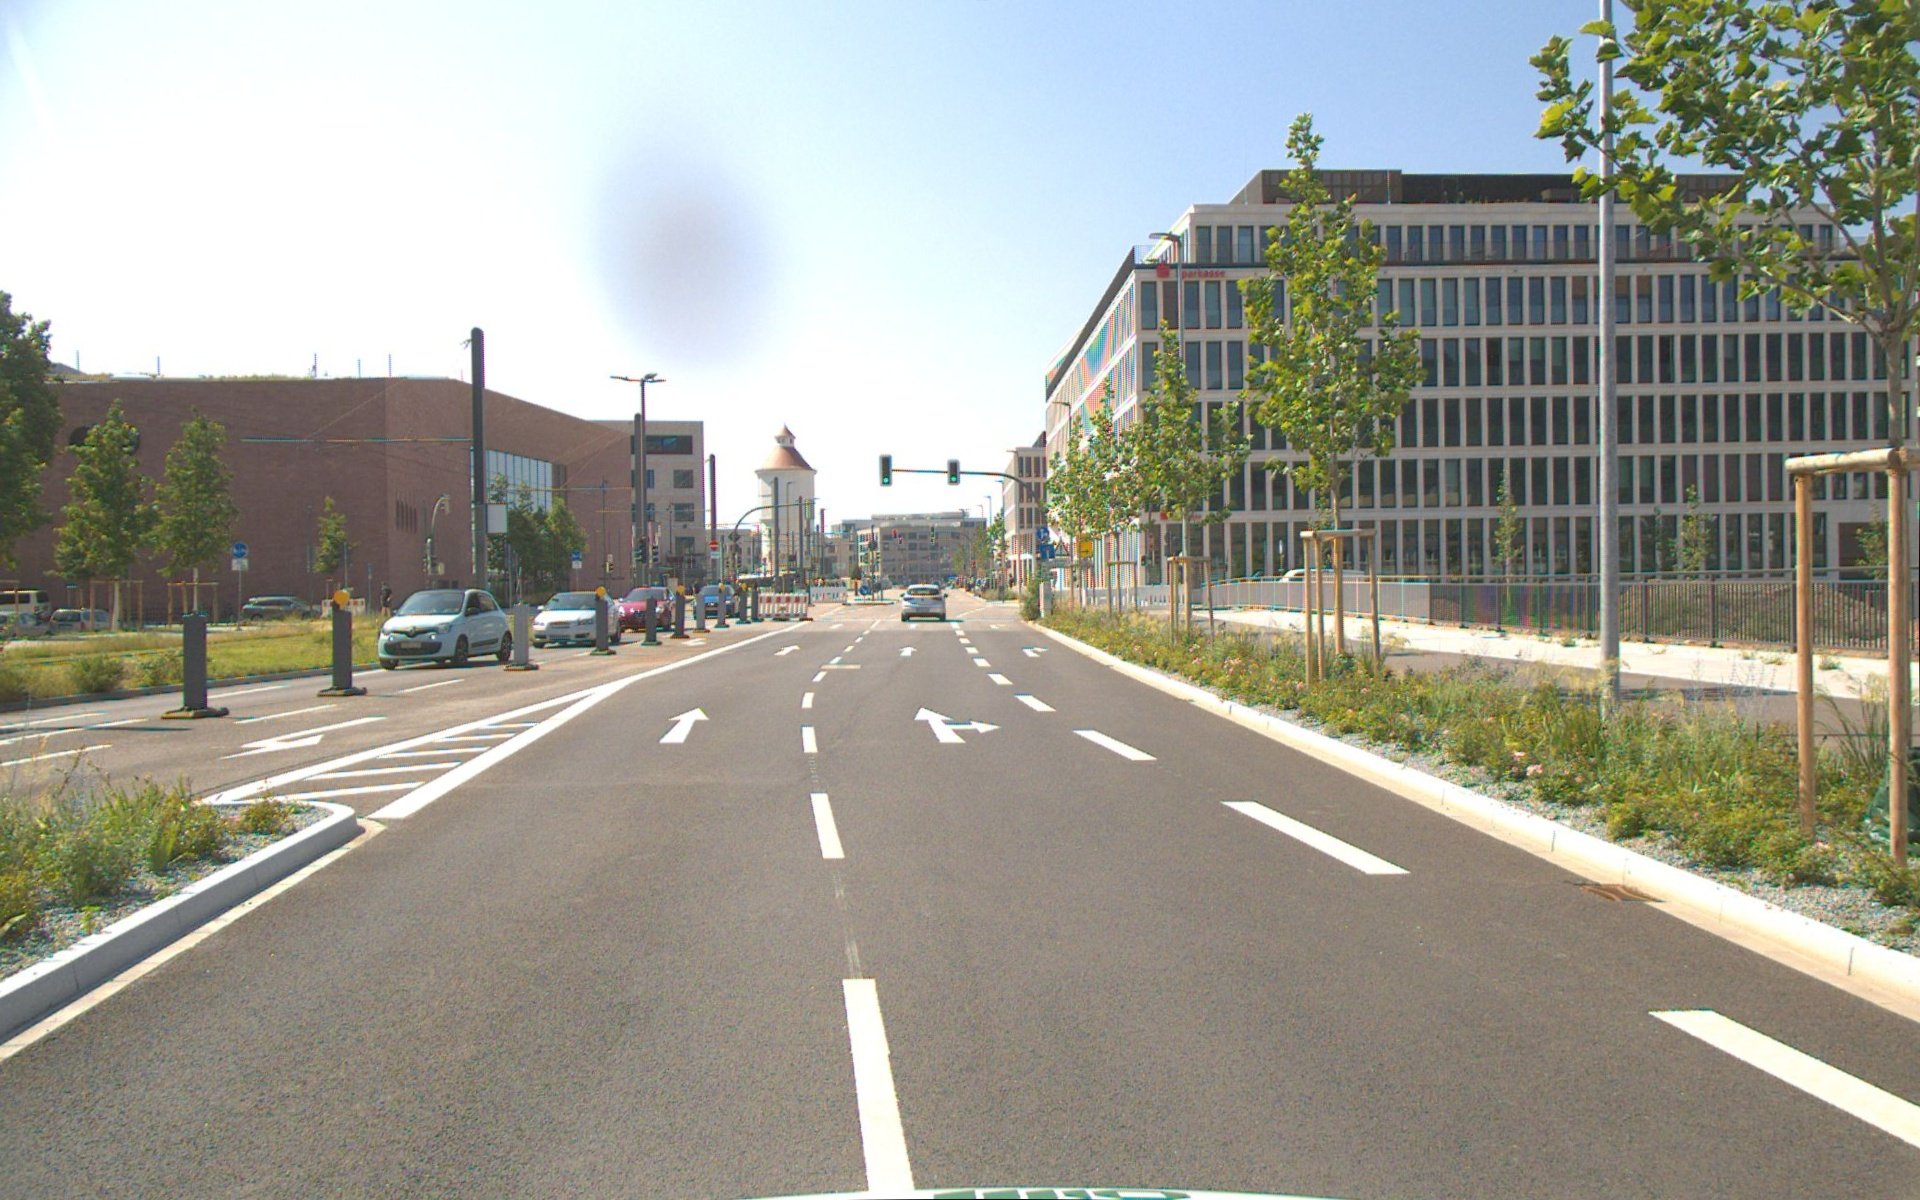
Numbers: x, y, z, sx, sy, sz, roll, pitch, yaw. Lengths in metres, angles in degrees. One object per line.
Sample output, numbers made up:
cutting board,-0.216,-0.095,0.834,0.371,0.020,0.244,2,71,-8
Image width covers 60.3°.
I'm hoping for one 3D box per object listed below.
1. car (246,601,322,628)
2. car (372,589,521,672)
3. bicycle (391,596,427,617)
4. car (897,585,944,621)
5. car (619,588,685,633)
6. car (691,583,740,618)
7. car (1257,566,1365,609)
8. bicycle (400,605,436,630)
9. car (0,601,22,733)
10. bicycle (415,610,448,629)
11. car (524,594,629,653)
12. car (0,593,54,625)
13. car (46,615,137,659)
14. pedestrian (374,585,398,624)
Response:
car,-35.731,0.757,87.469,3.408,1.393,1.573,0,1,-2
car,-10.540,0.585,34.203,1.546,1.557,3.623,-3,0,6
bicycle,-32.855,0.368,98.637,2.015,1.233,0.538,-1,0,-12
car,-1.583,0.129,67.176,1.735,1.419,3.532,0,-1,1
car,-10.447,0.340,56.351,1.548,1.441,3.998,-2,0,-2
car,-10.698,0.001,72.631,1.595,1.452,4.289,-2,1,-2
car,20.181,-0.710,95.149,5.718,2.310,2.146,1,1,-1
bicycle,-33.751,1.083,103.019,2.015,1.478,0.538,-1,1,-12
car,-11.698,0.802,16.691,1.638,1.468,4.471,-3,0,4
bicycle,-34.717,1.286,108.678,2.015,1.233,0.538,-1,1,-12
car,-10.205,0.585,44.338,1.547,1.441,4.298,-2,0,3
car,-53.009,0.485,92.689,3.471,1.719,1.694,0,1,-1
car,-37.114,1.567,70.818,1.663,1.792,4.300,0,0,-1
pedestrian,-28.453,0.224,81.984,0.794,1.879,1.107,-1,0,1
